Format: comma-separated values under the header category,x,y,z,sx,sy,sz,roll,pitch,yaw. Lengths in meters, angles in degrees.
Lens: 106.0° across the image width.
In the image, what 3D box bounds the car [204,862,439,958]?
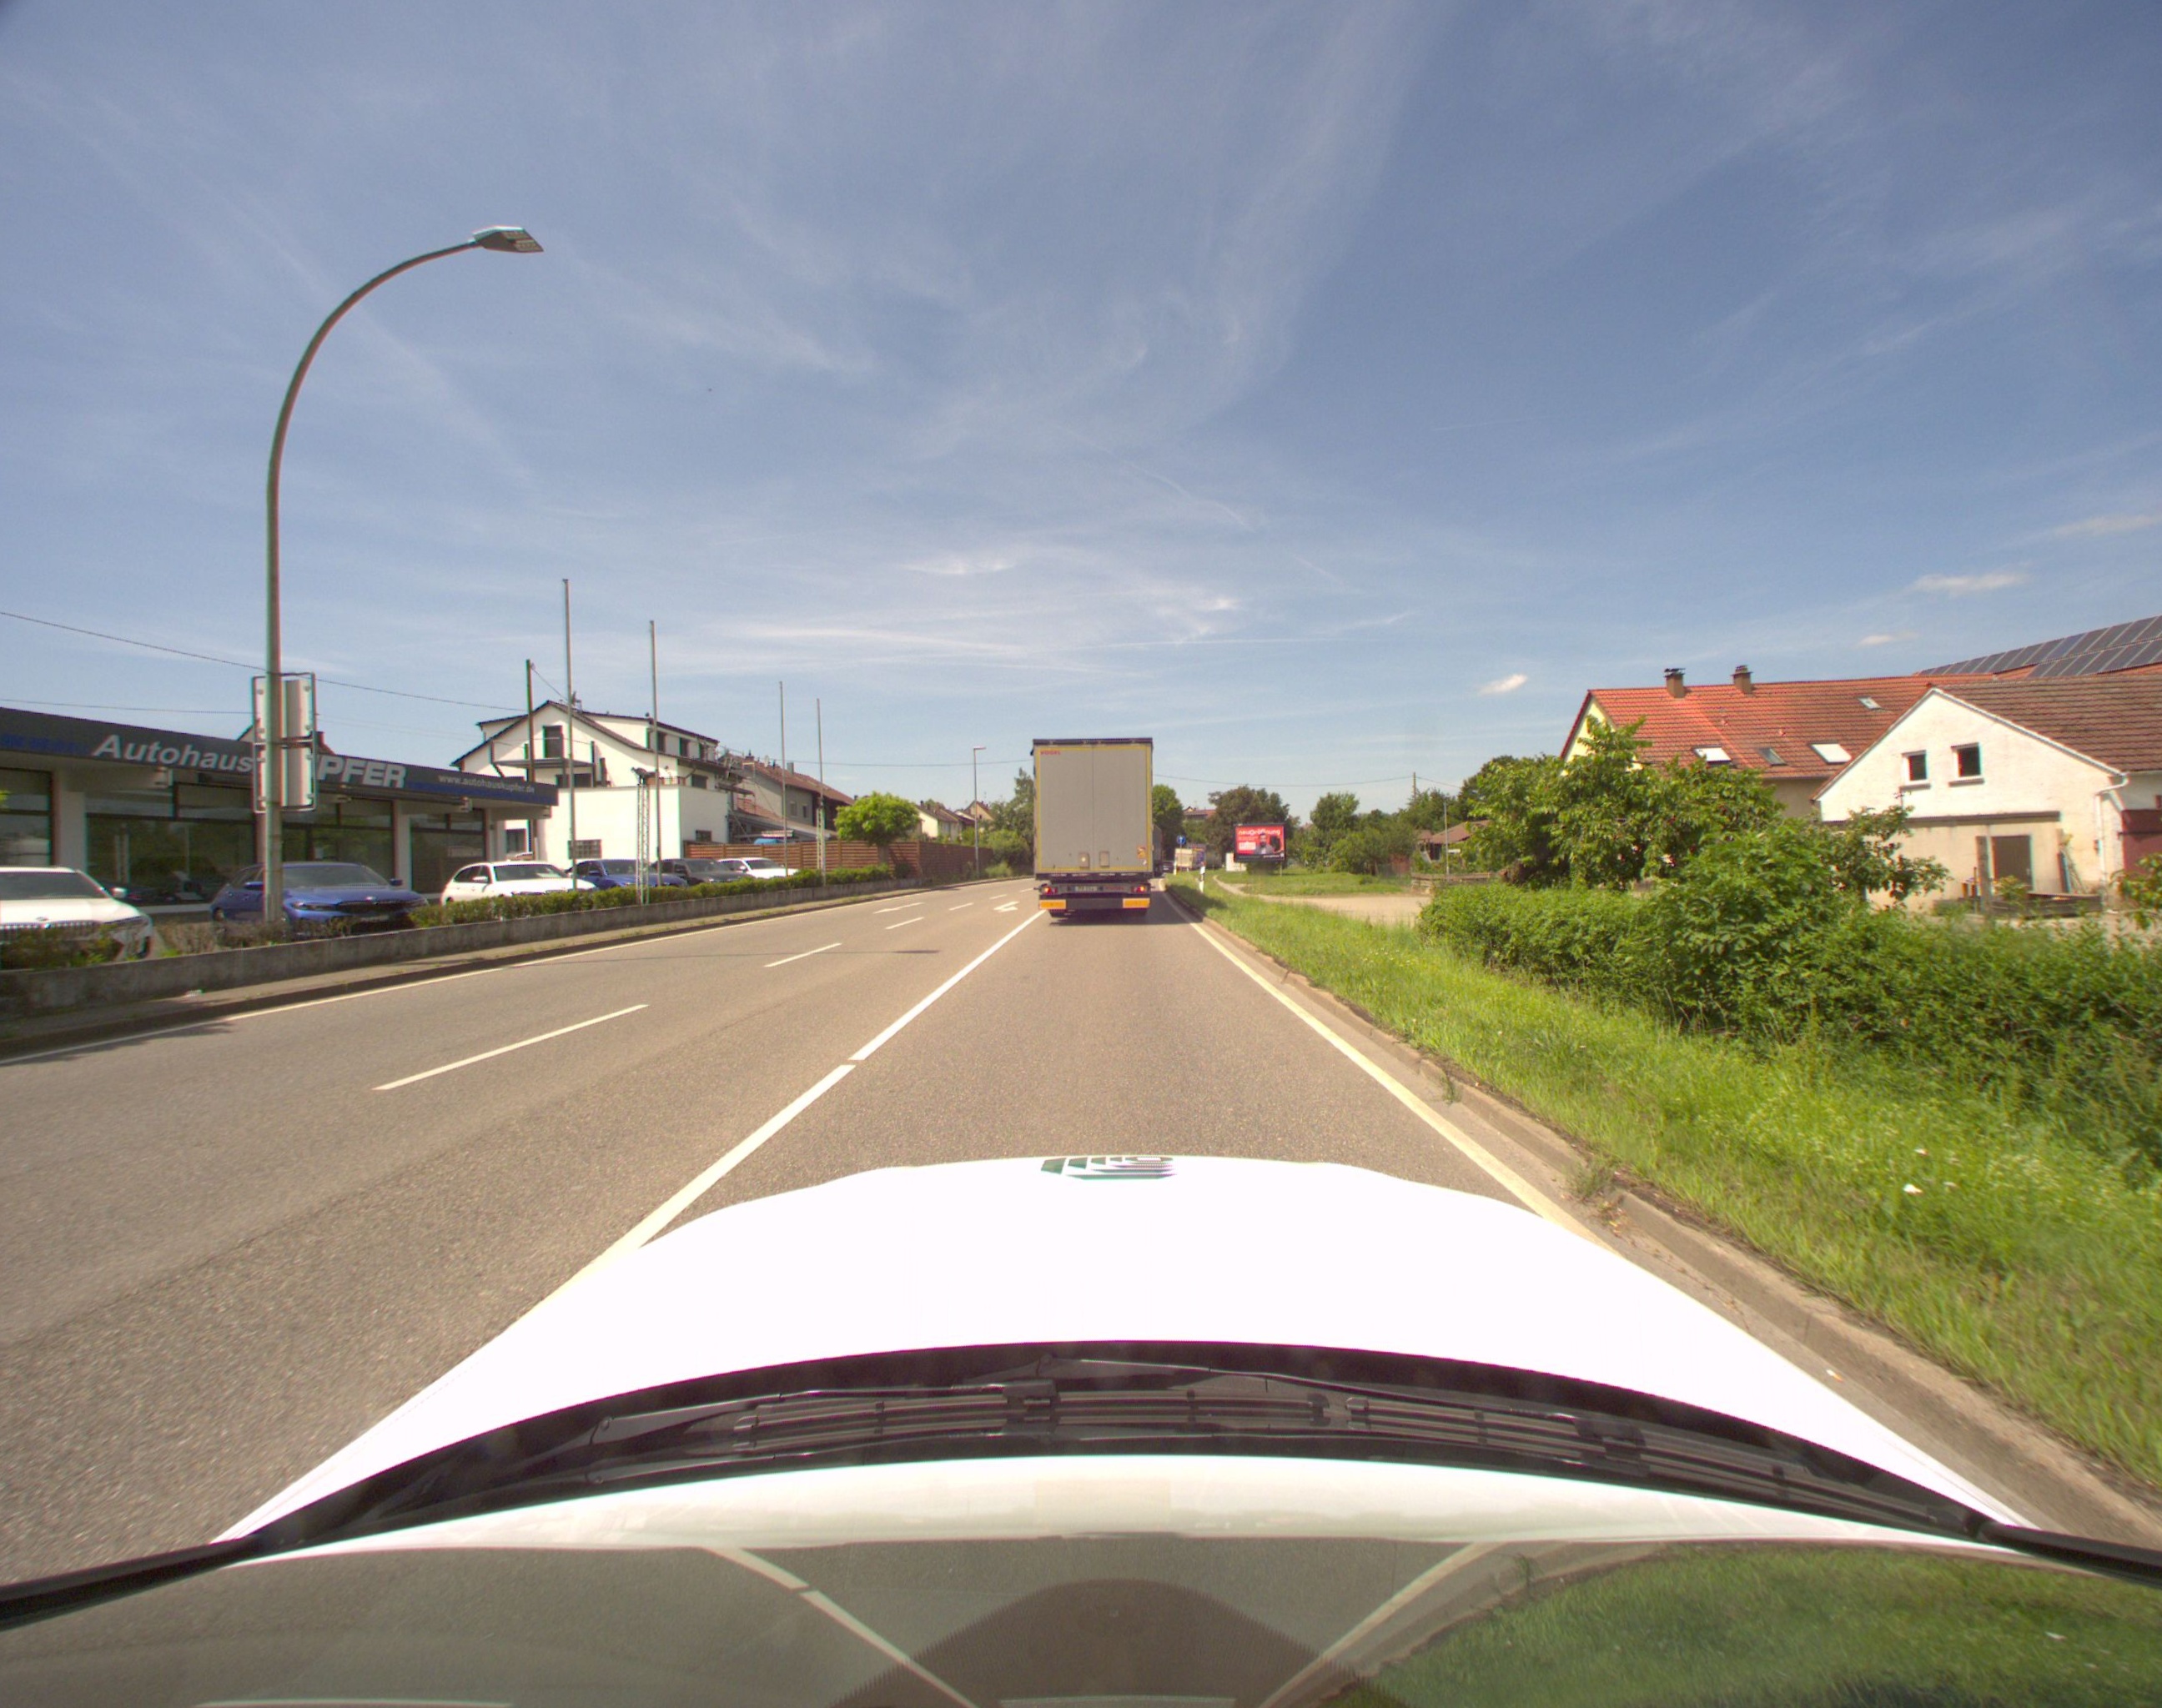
category,x,y,z,sx,sy,sz,roll,pitch,yaw
car,-13.250,0.873,14.165,4.286,1.447,1.868,-1,-1,31

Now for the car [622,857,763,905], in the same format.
category,x,y,z,sx,sy,sz,roll,pitch,yaw
car,-12.603,0.848,26.408,4.287,1.447,1.910,-1,-1,27

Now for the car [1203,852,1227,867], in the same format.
category,x,y,z,sx,sy,sz,roll,pitch,yaw
car,20.266,0.797,122.923,2.511,2.277,6.412,0,0,19

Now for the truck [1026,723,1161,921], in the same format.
category,x,y,z,sx,sy,sz,roll,pitch,yaw
truck,0.493,-0.629,22.662,2.811,4.128,11.449,0,0,2

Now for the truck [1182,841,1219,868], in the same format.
category,x,y,z,sx,sy,sz,roll,pitch,yaw
truck,16.609,0.039,112.511,3.405,3.604,9.398,0,0,19

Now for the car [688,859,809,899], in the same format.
category,x,y,z,sx,sy,sz,roll,pitch,yaw
car,-12.514,0.916,30.605,4.287,1.447,1.868,-1,-1,27

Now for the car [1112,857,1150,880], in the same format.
category,x,y,z,sx,sy,sz,roll,pitch,yaw
car,3.103,0.876,49.838,1.807,1.346,3.859,0,-1,11

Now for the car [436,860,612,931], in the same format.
category,x,y,z,sx,sy,sz,roll,pitch,yaw
car,-12.874,0.867,18.736,4.457,1.447,1.869,0,0,35

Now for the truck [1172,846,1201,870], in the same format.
category,x,y,z,sx,sy,sz,roll,pitch,yaw
truck,13.077,0.520,100.584,2.523,2.803,6.059,0,-1,18

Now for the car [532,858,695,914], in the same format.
category,x,y,z,sx,sy,sz,roll,pitch,yaw
car,-13.119,0.868,22.850,4.288,1.447,1.868,-1,-1,26

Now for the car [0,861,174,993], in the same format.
category,x,y,z,sx,sy,sz,roll,pitch,yaw
car,-13.628,0.828,10.418,4.521,1.447,1.868,-1,-1,31

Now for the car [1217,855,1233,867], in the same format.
category,x,y,z,sx,sy,sz,roll,pitch,yaw
car,23.602,1.196,133.200,1.977,2.014,4.019,0,-1,19

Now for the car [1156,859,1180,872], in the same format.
category,x,y,z,sx,sy,sz,roll,pitch,yaw
car,9.393,1.226,87.600,1.979,1.376,4.016,0,-1,15

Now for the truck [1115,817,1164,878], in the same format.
category,x,y,z,sx,sy,sz,roll,pitch,yaw
truck,4.947,-0.300,65.471,2.745,4.289,16.451,0,-1,8

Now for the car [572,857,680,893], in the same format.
category,x,y,z,sx,sy,sz,roll,pitch,yaw
car,-19.963,0.919,35.760,3.957,1.510,1.843,0,0,16
